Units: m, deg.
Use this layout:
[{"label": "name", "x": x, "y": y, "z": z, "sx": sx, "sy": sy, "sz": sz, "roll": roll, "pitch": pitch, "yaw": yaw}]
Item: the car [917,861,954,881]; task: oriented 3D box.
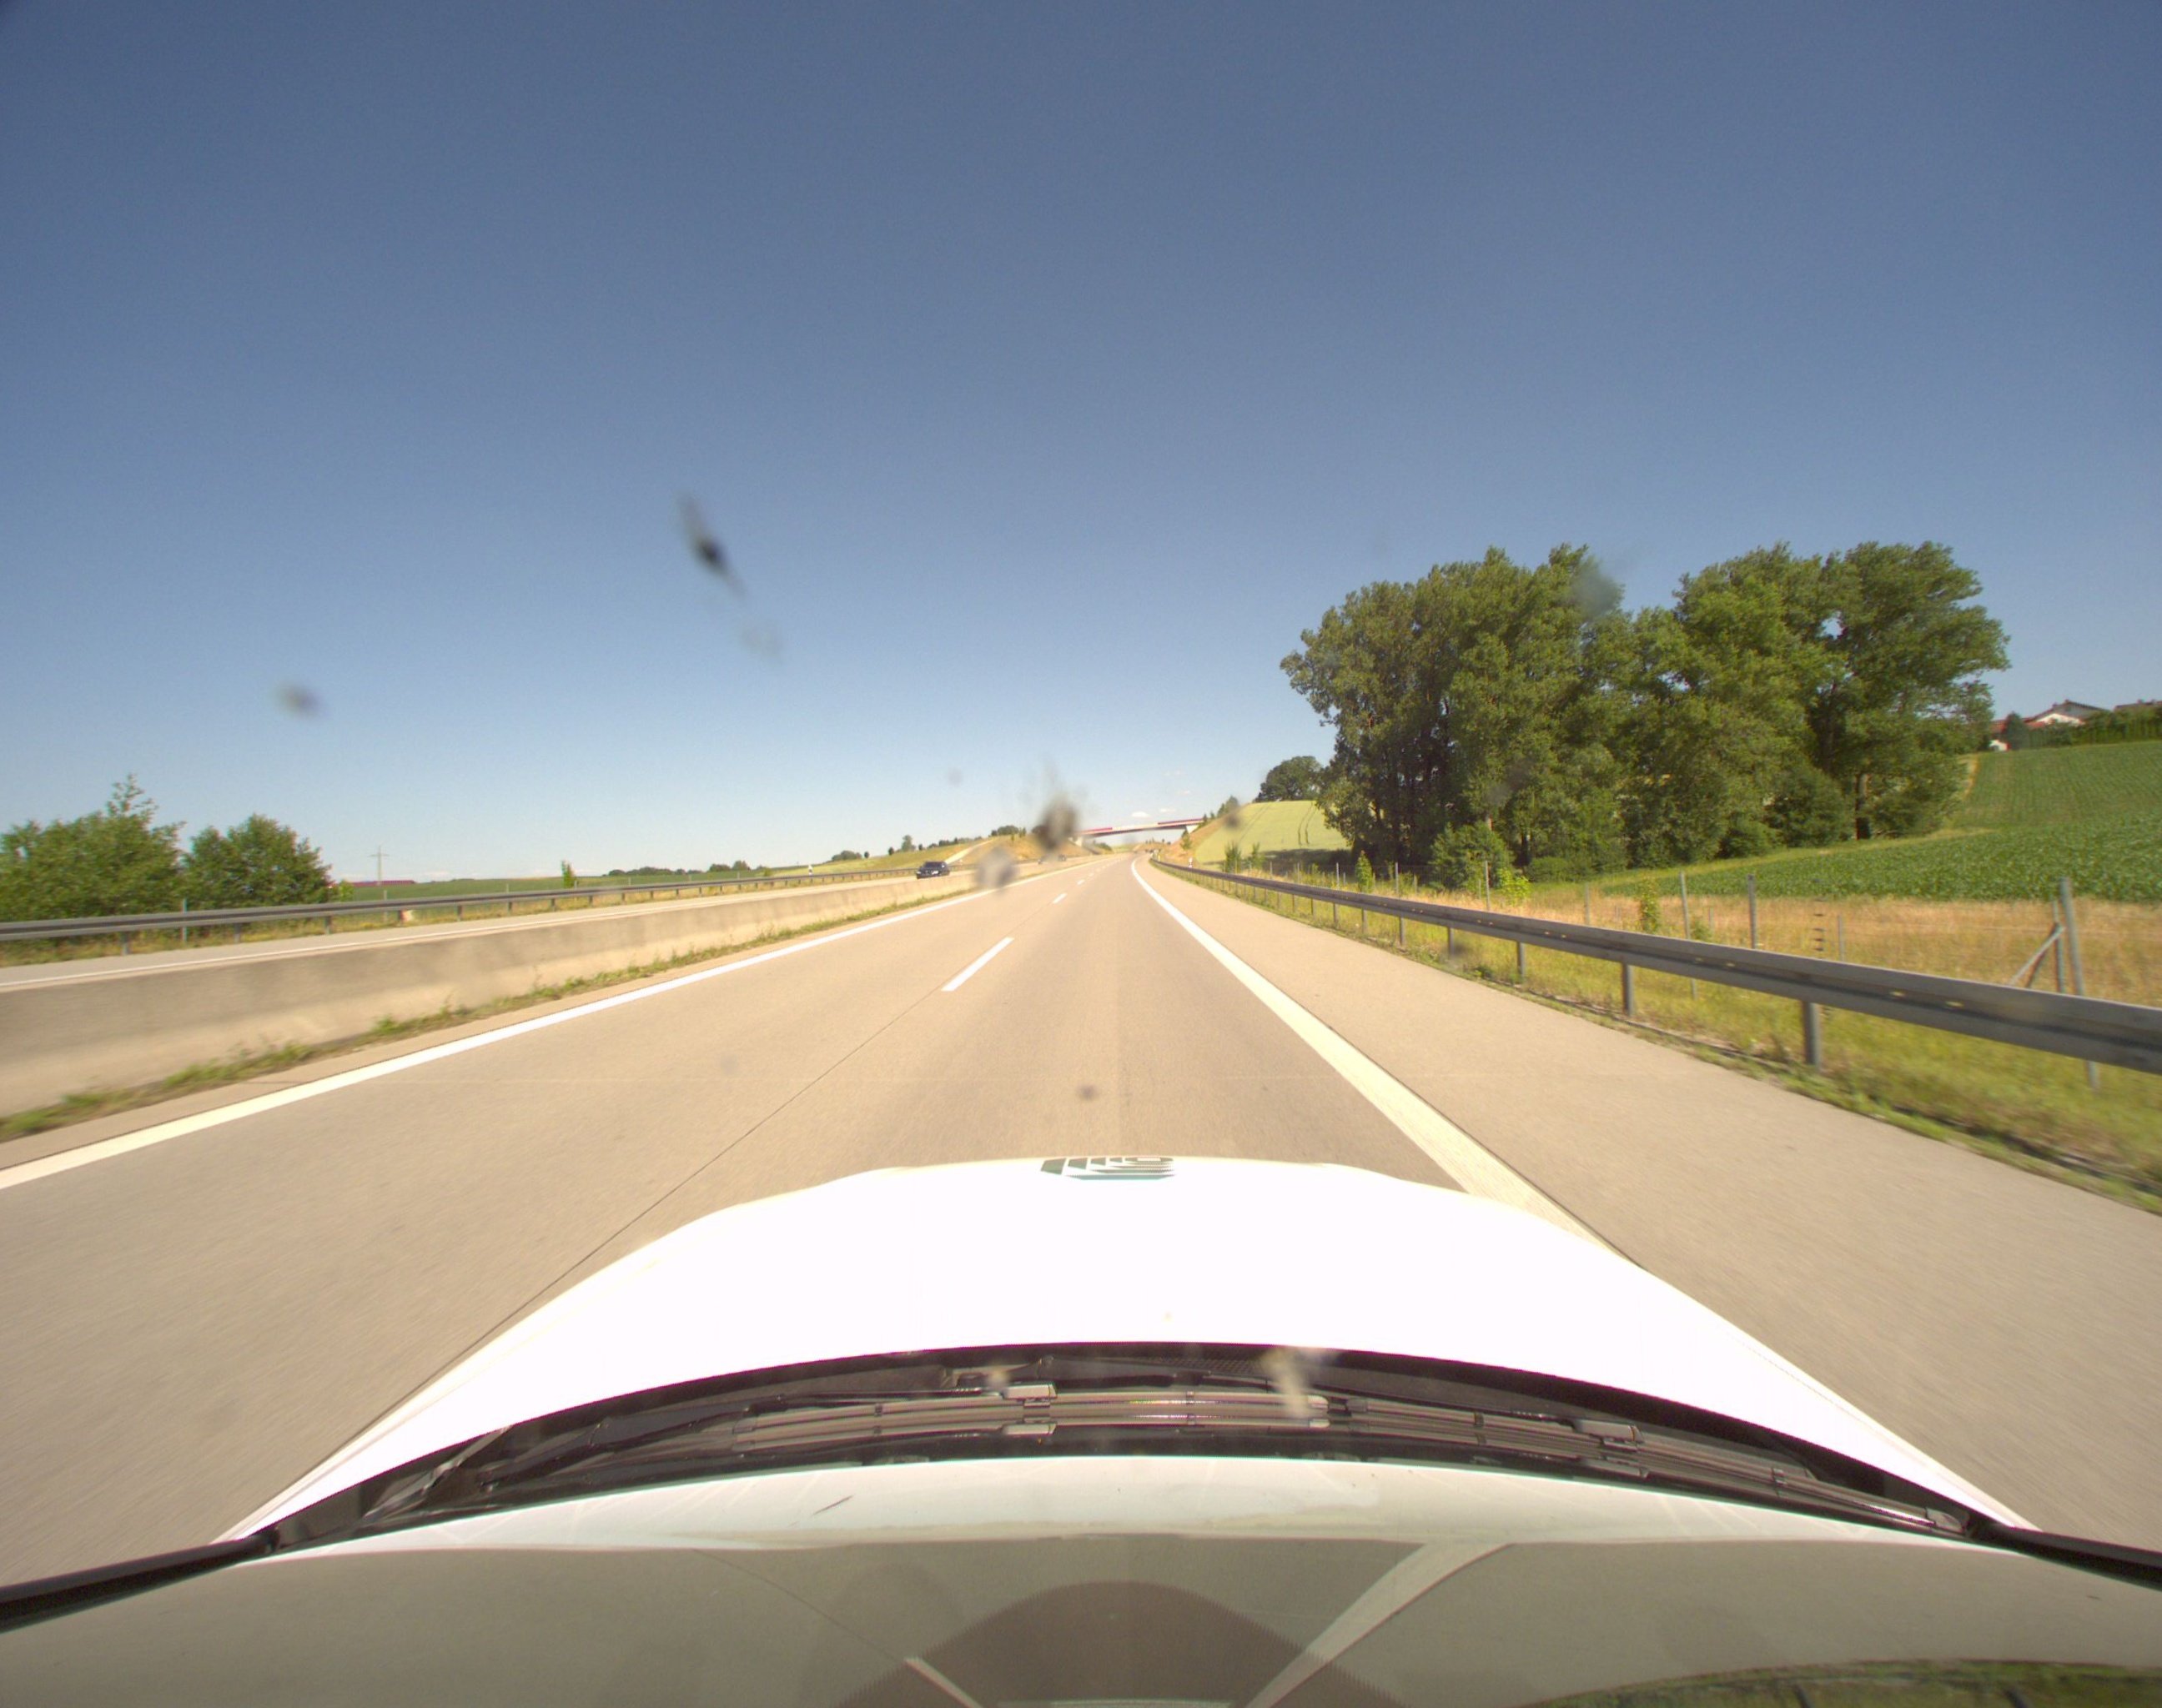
[{"label": "car", "x": -11.044, "y": 1.248, "z": 61.935, "sx": 1.805, "sy": 1.456, "sz": 4.514, "roll": 0, "pitch": -1, "yaw": 2}]

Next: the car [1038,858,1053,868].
[{"label": "car", "x": -5.544, "y": 1.428, "z": 127.045, "sx": 1.805, "sy": 1.615, "sz": 4.681, "roll": 0, "pitch": -1, "yaw": 4}]

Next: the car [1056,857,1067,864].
[{"label": "car", "x": -4.268, "y": 1.382, "z": 176.999, "sx": 1.805, "sy": 1.615, "sz": 4.681, "roll": 0, "pitch": -1, "yaw": 4}]
